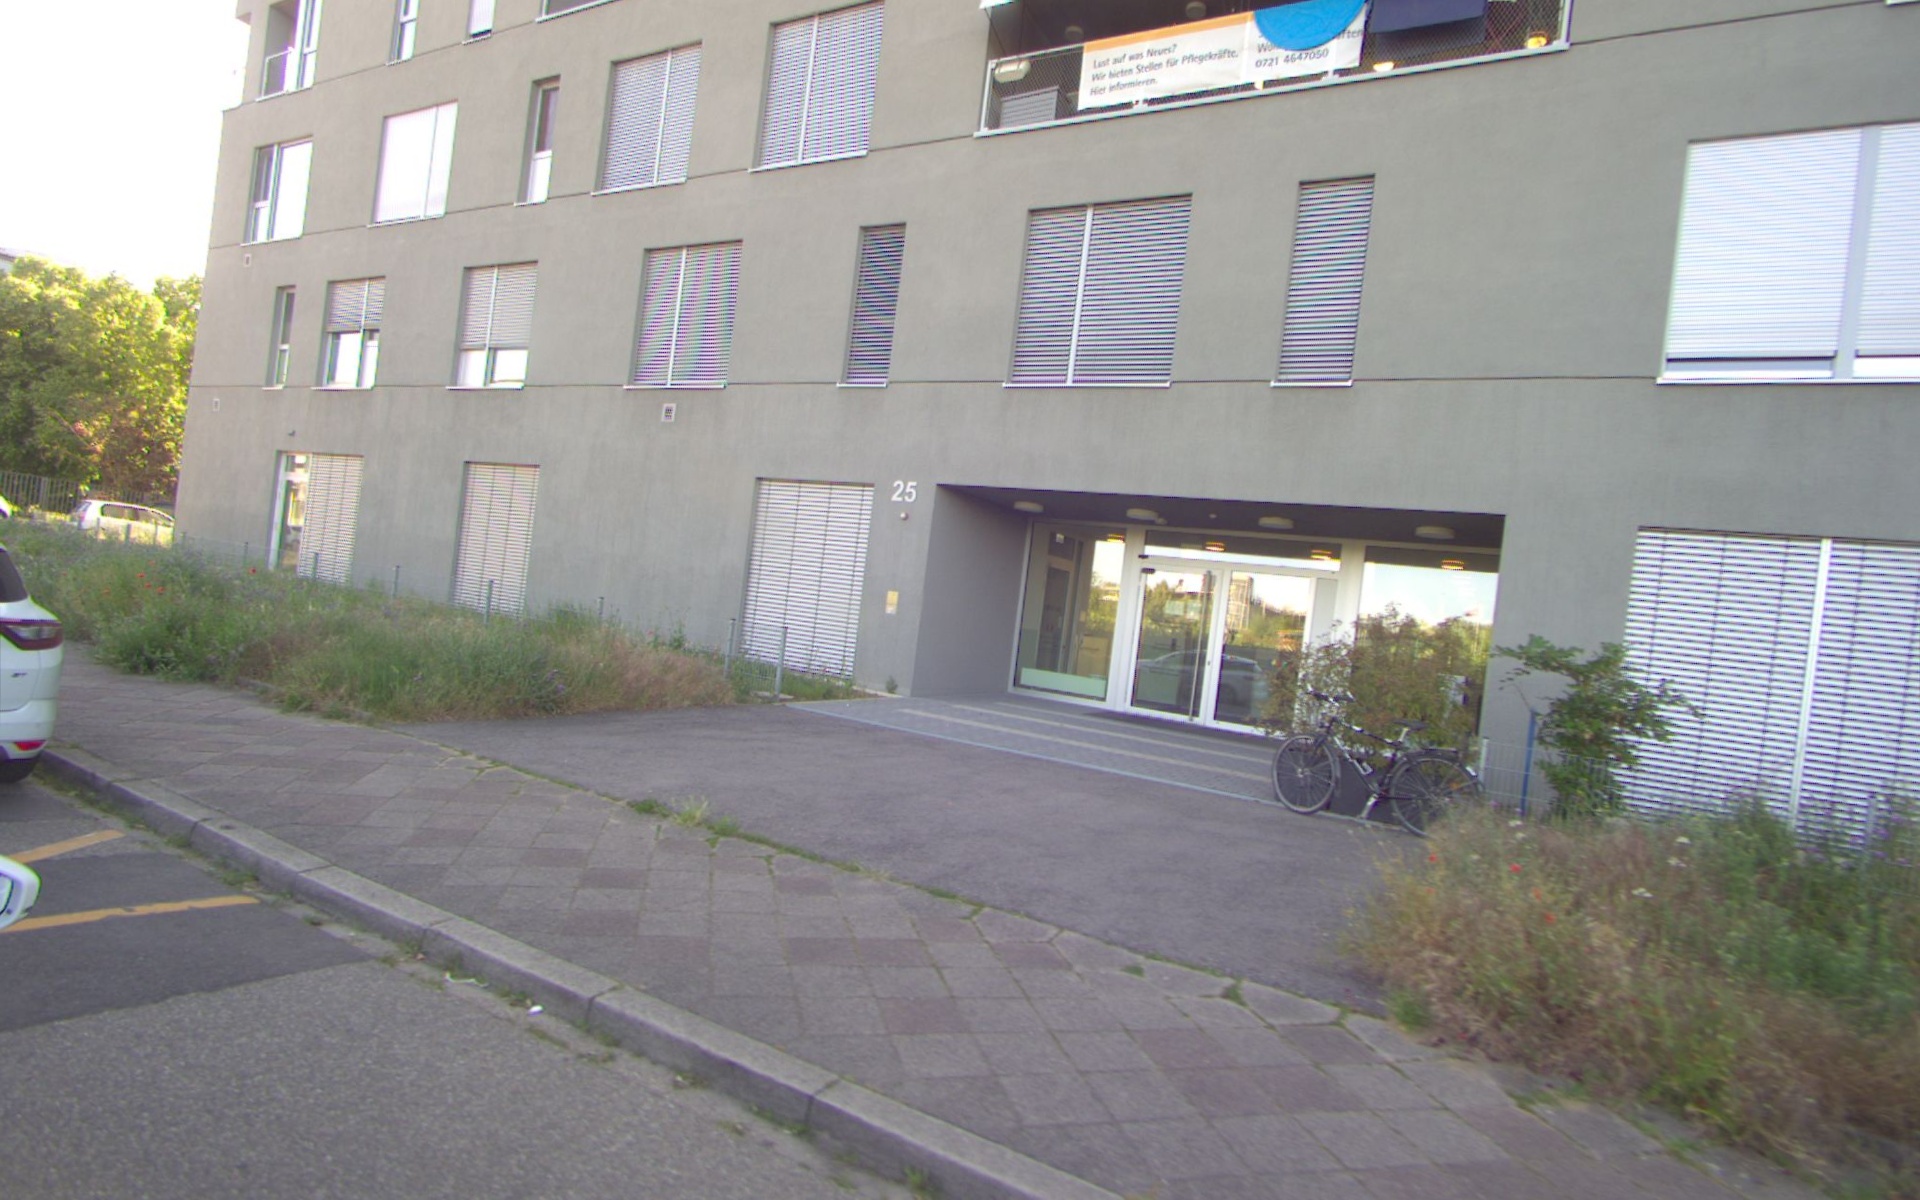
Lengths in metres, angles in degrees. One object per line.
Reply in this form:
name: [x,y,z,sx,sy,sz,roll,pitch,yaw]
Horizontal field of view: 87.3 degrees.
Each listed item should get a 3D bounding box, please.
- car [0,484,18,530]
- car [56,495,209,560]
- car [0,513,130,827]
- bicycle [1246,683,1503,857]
car: [-34.235,-3.395,33.681,1.573,1.504,3.552,7,-1,31]
car: [-26.063,-2.265,31.766,1.687,1.476,3.329,7,-1,35]
car: [-6.605,0.059,5.428,4.508,1.445,1.749,7,-2,31]
bicycle: [3.441,1.370,8.428,1.812,1.074,0.552,7,-1,34]
